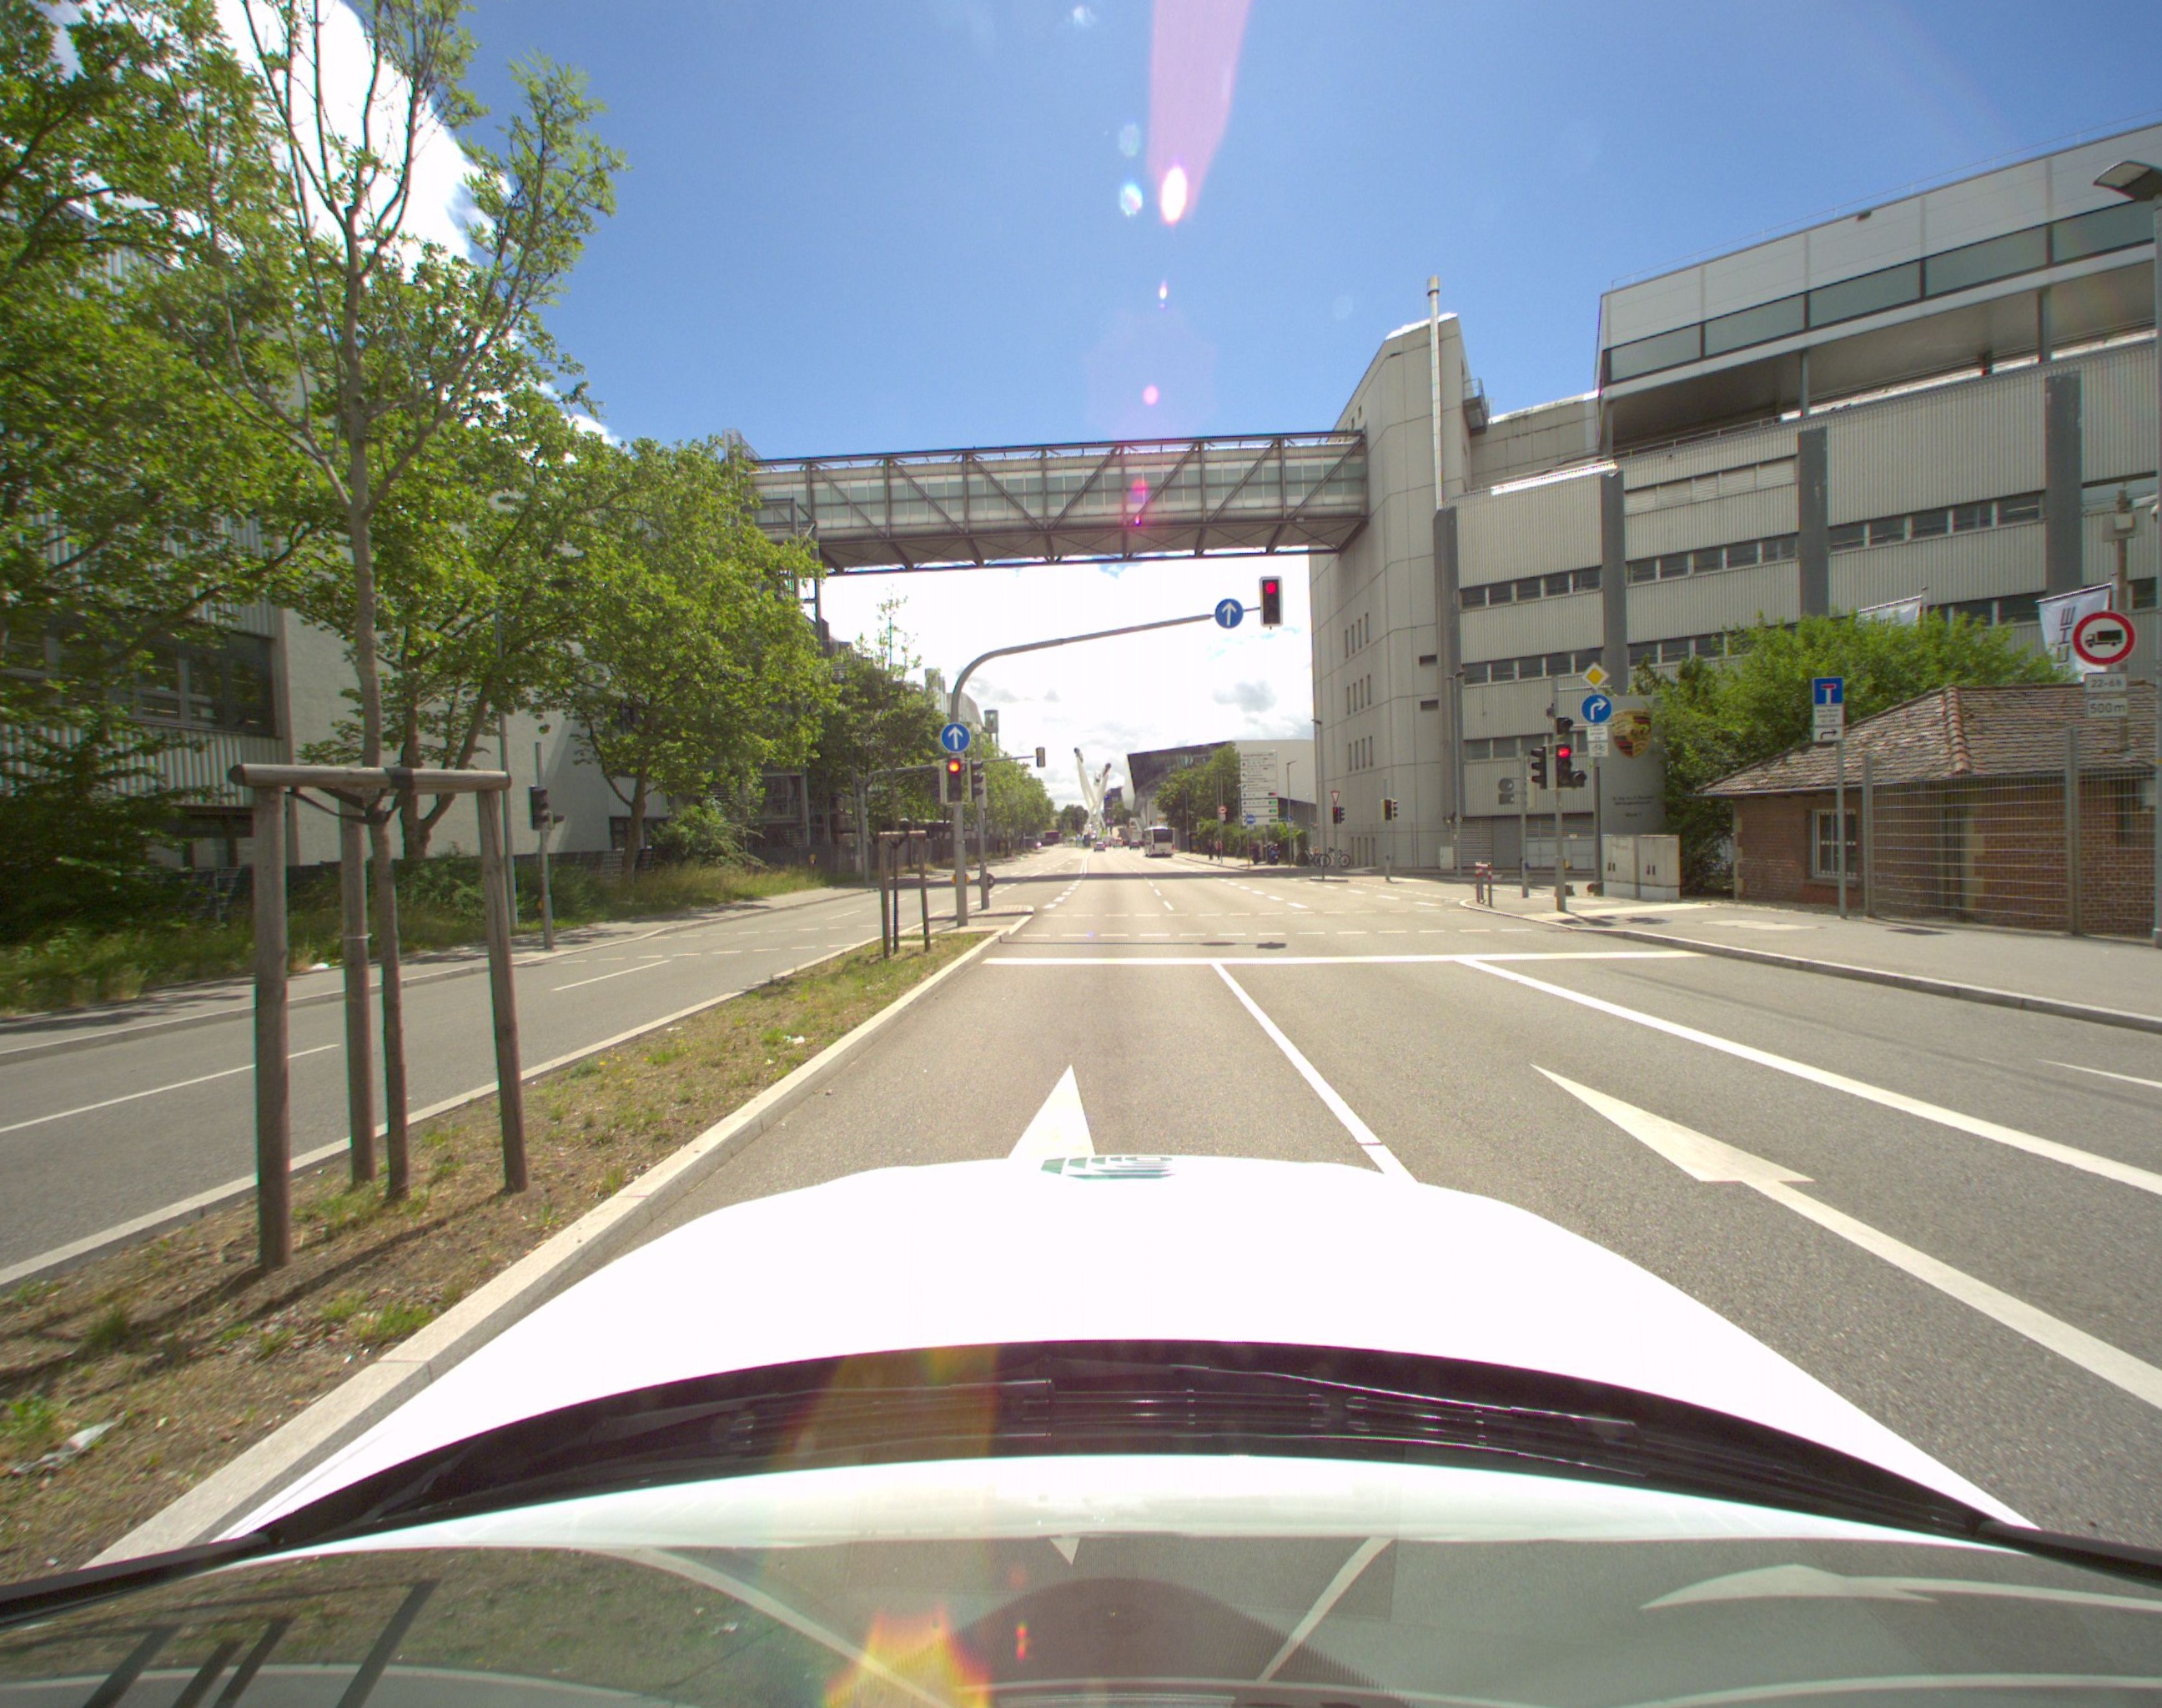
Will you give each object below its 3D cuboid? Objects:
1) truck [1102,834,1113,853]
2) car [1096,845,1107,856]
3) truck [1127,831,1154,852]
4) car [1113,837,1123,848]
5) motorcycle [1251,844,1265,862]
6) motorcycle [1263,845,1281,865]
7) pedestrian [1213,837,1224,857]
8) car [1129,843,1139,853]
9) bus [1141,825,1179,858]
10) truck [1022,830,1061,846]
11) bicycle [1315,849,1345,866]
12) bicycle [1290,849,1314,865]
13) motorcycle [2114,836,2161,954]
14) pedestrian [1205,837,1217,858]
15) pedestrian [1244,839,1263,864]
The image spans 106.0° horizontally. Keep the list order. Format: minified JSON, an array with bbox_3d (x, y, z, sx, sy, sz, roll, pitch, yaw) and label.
[{"bbox_3d":[5.781,-2.270,178.687,2.383,3.897,6.180,-1,0,2],"label":"truck"},{"bbox_3d":[3.292,-0.617,130.150,1.732,1.741,3.693,-1,0,2],"label":"car"},{"bbox_3d":[13.122,-2.791,178.217,3.424,4.391,9.467,-1,0,19],"label":"truck"},{"bbox_3d":[7.573,-2.369,166.939,1.986,2.014,4.001,0,-1,2],"label":"car"},{"bbox_3d":[12.889,-0.100,59.319,0.572,1.203,2.025,-3,1,2],"label":"motorcycle"},{"bbox_3d":[12.046,0.033,51.474,0.703,1.203,2.025,-3,1,2],"label":"motorcycle"},{"bbox_3d":[11.699,-0.601,69.068,0.817,1.741,0.637,-1,0,1],"label":"pedestrian"},{"bbox_3d":[9.517,-1.119,146.265,1.732,1.741,3.693,-1,0,2],"label":"car"},{"bbox_3d":[8.825,-1.383,92.465,3.440,3.543,10.607,-1,0,1],"label":"bus"},{"bbox_3d":[-11.085,-4.491,230.372,3.528,4.324,12.243,-1,-1,39],"label":"truck"},{"bbox_3d":[13.808,0.189,45.213,0.399,0.937,1.913,-1,0,-24],"label":"bicycle"},{"bbox_3d":[12.869,0.162,47.527,0.398,0.937,1.917,-1,0,-17],"label":"bicycle"},{"bbox_3d":[11.162,0.409,7.420,0.691,1.158,2.146,-3,0,-3],"label":"motorcycle"},{"bbox_3d":[11.016,-0.555,69.009,0.817,1.707,0.881,-1,0,2],"label":"pedestrian"},{"bbox_3d":[11.224,-0.169,53.035,0.839,1.624,0.962,-1,0,43],"label":"pedestrian"}]
